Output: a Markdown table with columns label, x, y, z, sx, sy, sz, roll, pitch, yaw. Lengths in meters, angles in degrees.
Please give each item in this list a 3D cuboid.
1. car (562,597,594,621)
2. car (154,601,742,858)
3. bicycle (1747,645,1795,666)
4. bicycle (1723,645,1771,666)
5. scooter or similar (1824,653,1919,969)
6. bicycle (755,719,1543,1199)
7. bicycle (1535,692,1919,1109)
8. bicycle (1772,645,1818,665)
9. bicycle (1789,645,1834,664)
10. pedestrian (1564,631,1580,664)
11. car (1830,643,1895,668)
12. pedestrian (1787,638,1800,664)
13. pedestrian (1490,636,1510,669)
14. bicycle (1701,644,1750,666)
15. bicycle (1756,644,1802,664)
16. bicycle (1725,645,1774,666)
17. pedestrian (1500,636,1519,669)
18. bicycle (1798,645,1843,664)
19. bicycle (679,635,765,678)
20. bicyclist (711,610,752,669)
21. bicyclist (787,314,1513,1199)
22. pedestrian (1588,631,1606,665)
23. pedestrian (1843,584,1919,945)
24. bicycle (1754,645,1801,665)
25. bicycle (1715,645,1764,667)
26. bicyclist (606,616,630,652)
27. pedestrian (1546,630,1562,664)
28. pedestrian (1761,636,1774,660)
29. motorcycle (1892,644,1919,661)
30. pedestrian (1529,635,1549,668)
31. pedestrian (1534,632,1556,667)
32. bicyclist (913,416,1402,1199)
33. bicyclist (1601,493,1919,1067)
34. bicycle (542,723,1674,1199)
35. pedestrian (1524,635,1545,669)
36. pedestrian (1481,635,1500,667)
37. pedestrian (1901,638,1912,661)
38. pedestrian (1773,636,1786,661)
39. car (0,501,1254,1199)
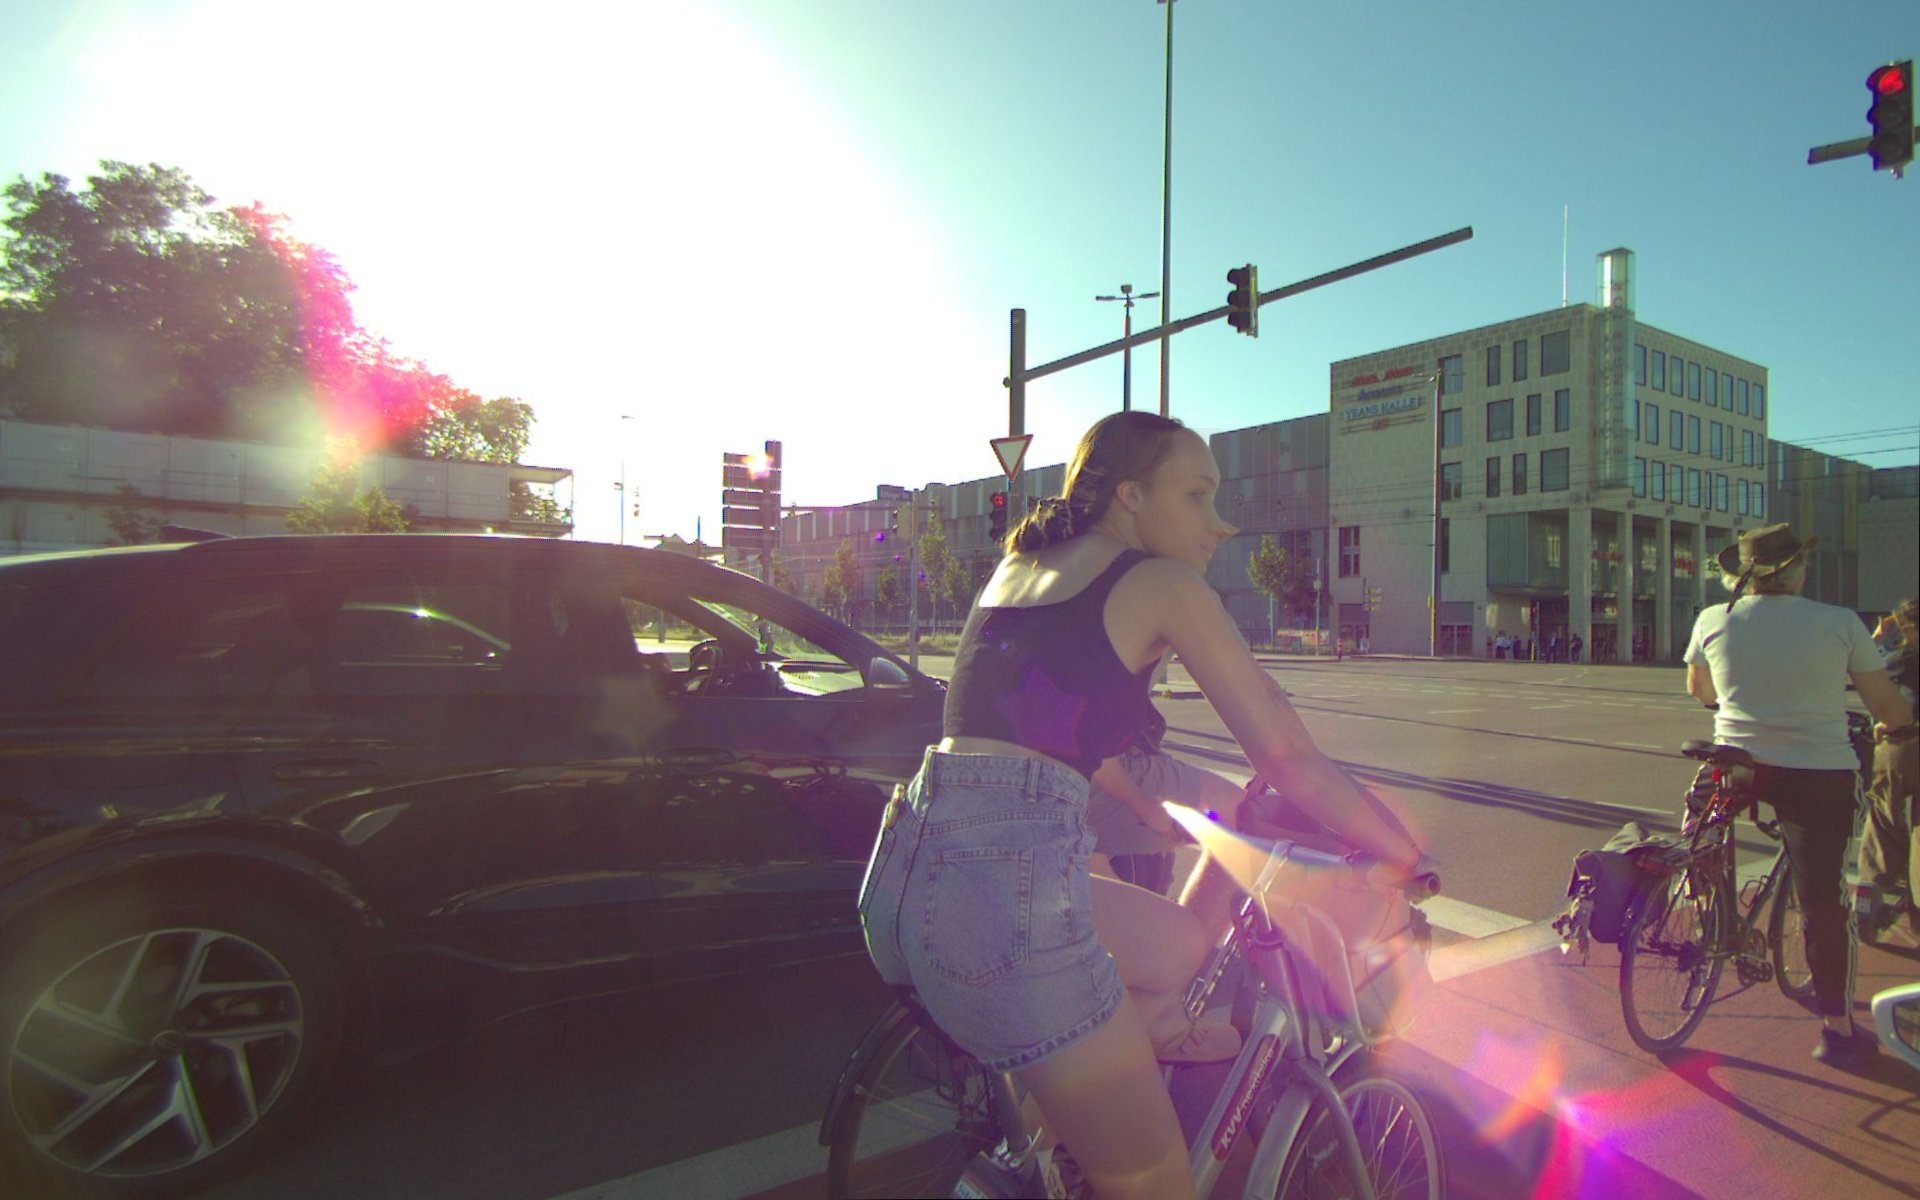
| label | x | y | z | sx | sy | sz | roll | pitch | yaw |
| --- | --- | --- | --- | --- | --- | --- | --- | --- | --- |
| car | -32.942 | 0.743 | 86.510 | 1.785 | 1.908 | 3.964 | 2 | 0 | -33 |
| car | -3.589 | 0.790 | 7.493 | 3.562 | 1.505 | 1.485 | 1 | 0 | -30 |
| bicycle | 51.273 | 3.485 | 63.549 | 0.605 | 1.238 | 2.295 | 1 | -1 | -31 |
| bicycle | 48.042 | 3.375 | 61.336 | 0.605 | 1.238 | 2.295 | 1 | -1 | -31 |
| scooter or similar | 4.489 | 0.926 | 4.712 | 1.186 | 1.311 | 0.541 | 2 | 0 | -45 |
| bicycle | 0.554 | 0.929 | 2.417 | 1.949 | 1.124 | 0.643 | 1 | 0 | -33 |
| bicycle | 2.876 | 0.961 | 3.677 | 1.810 | 1.171 | 0.482 | 2 | 0 | -31 |
| bicycle | 55.515 | 3.631 | 66.828 | 0.605 | 1.238 | 2.295 | 1 | -1 | -31 |
| bicycle | 58.847 | 3.746 | 69.426 | 0.605 | 1.238 | 2.295 | 1 | -1 | -31 |
| pedestrian | 35.625 | 2.741 | 58.422 | 0.784 | 1.868 | 0.862 | 0 | -1 | 32 |
| car | 49.779 | 3.072 | 55.407 | 3.956 | 1.359 | 1.621 | 2 | -4 | -32 |
| pedestrian | 56.148 | 3.437 | 67.661 | 0.639 | 1.742 | 0.449 | 0 | -1 | 37 |
| pedestrian | 32.158 | 3.140 | 59.865 | 0.710 | 1.910 | 0.779 | 2 | 0 | -36 |
| bicycle | 45.758 | 3.299 | 60.081 | 0.605 | 1.238 | 2.295 | 1 | -1 | -31 |
| bicycle | 54.276 | 3.592 | 66.564 | 0.605 | 1.238 | 2.295 | 1 | -1 | -31 |
| bicycle | 48.692 | 3.398 | 61.957 | 0.605 | 1.238 | 2.295 | 1 | -1 | -31 |
| pedestrian | 33.219 | 3.177 | 60.687 | 0.780 | 1.910 | 0.709 | 2 | 0 | -37 |
| bicycle | 59.819 | 3.777 | 69.851 | 0.605 | 1.238 | 2.295 | 1 | -1 | -31 |
| bicycle | -8.585 | 2.031 | 36.283 | 2.905 | 1.388 | 0.970 | 2 | 0 | 16 |
| bicyclist | -8.232 | 1.406 | 36.215 | 1.078 | 2.040 | 0.961 | 2 | 0 | 15 |
| bicyclist | 0.270 | 0.515 | 1.527 | 0.866 | 1.600 | 0.638 | 1 | 0 | -33 |
| pedestrian | 35.868 | 2.704 | 56.581 | 0.784 | 1.868 | 0.863 | 0 | -1 | 28 |
| pedestrian | 4.630 | 0.762 | 4.804 | 0.568 | 1.654 | 0.543 | 2 | 0 | -45 |
| bicycle | 52.897 | 3.542 | 65.016 | 0.605 | 1.238 | 2.295 | 1 | -1 | -31 |
| bicycle | 46.959 | 3.338 | 60.525 | 0.605 | 1.238 | 2.295 | 1 | -1 | -31 |
| bicyclist | -19.593 | 1.939 | 57.543 | 0.985 | 2.040 | 1.088 | 2 | 0 | -40 |
| pedestrian | 34.287 | 2.690 | 58.008 | 0.705 | 1.910 | 0.785 | 2 | 0 | 33 |
| pedestrian | 56.933 | 3.389 | 70.806 | 0.610 | 1.702 | 0.565 | 1 | 0 | -39 |
| motorcycle | 70.734 | 3.919 | 74.853 | 0.508 | 1.223 | 1.786 | 1 | 0 | -44 |
| pedestrian | 34.402 | 3.055 | 59.687 | 0.710 | 1.910 | 0.779 | 2 | 0 | -36 |
| pedestrian | 35.152 | 2.991 | 60.337 | 0.767 | 2.040 | 0.876 | 2 | 0 | -41 |
| bicyclist | 0.440 | 0.488 | 2.337 | 0.833 | 1.627 | 0.712 | 1 | 0 | -32 |
| bicyclist | 2.866 | 0.556 | 3.551 | 0.856 | 1.743 | 0.657 | 2 | 0 | -30 |
| bicycle | 0.357 | 0.890 | 1.587 | 1.811 | 1.234 | 0.612 | 1 | 0 | -33 |
| pedestrian | 33.392 | 3.018 | 58.374 | 0.710 | 1.910 | 0.779 | 2 | 0 | -36 |
| pedestrian | 32.412 | 3.123 | 61.386 | 0.710 | 1.910 | 0.779 | 2 | 0 | -36 |
| pedestrian | 71.092 | 3.683 | 75.454 | 0.579 | 1.702 | 0.516 | 1 | 1 | -43 |
| pedestrian | 57.431 | 3.385 | 70.378 | 0.602 | 1.702 | 0.549 | 1 | 0 | -40 |
| car | -1.157 | 0.632 | 3.868 | 4.630 | 1.656 | 1.760 | 1 | 0 | -32 |
